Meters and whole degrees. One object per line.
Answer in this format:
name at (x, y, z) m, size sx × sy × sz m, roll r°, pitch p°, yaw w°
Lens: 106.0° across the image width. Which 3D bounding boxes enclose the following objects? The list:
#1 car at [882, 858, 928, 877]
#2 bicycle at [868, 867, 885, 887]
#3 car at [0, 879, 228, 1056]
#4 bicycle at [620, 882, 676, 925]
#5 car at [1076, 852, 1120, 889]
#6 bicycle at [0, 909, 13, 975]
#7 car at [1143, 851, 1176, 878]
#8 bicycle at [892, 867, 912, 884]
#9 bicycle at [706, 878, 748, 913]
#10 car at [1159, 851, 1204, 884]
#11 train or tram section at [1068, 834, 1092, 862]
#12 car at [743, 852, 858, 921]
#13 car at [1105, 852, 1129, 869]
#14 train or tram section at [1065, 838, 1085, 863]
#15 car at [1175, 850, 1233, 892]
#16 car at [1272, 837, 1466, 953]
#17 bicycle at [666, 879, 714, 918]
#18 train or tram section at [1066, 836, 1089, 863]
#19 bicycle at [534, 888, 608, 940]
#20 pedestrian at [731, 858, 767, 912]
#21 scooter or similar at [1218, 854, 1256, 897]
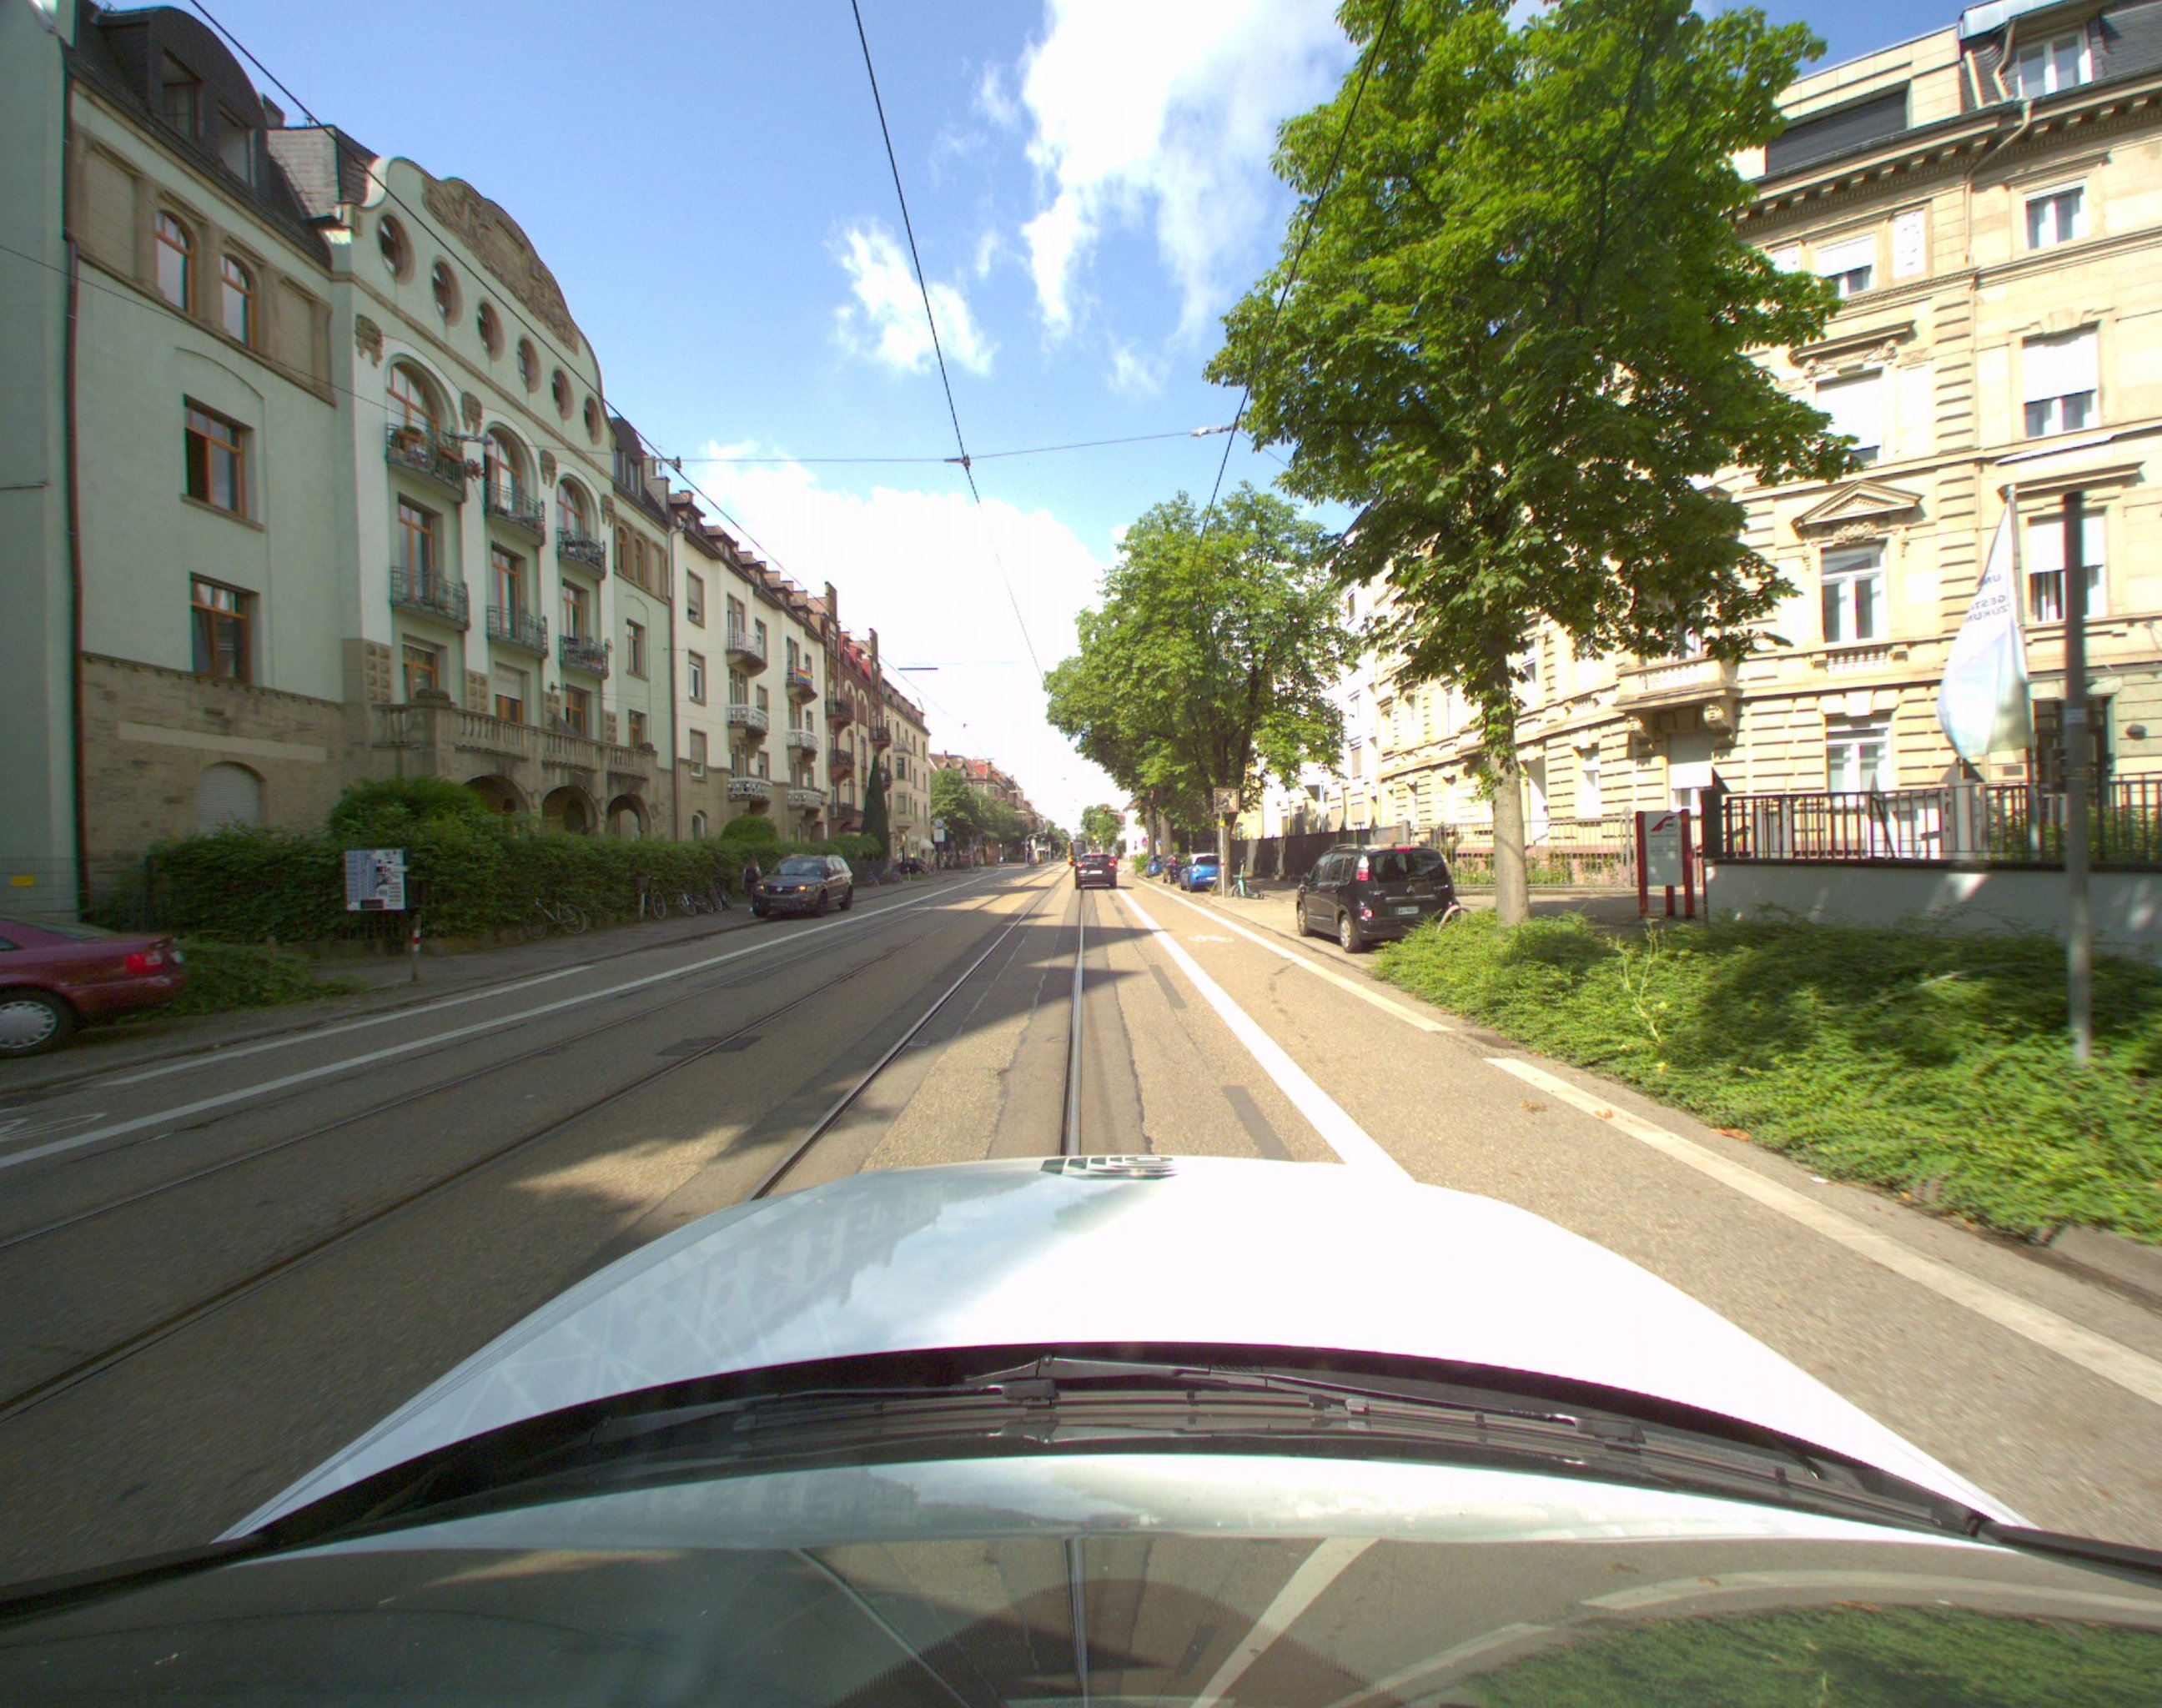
car at (-14.031, 1.067, 64.872) m, size 3.223 × 1.513 × 1.680 m, roll 0°, pitch -1°, yaw 3°
bicycle at (-10.528, 1.183, 41.927) m, size 0.424 × 0.959 × 1.706 m, roll 0°, pitch 0°, yaw 2°
car at (-10.802, 1.133, 7.446) m, size 3.993 × 1.484 × 1.824 m, roll -4°, pitch 0°, yaw -43°
bicycle at (-10.766, 1.217, 20.315) m, size 0.381 × 0.959 × 1.811 m, roll 0°, pitch 0°, yaw 2°
car at (0.676, 0.671, 35.974) m, size 1.784 × 1.512 × 4.349 m, roll 0°, pitch 0°, yaw -1°
bicycle at (-17.920, 1.450, 12.627) m, size 0.382 × 1.064 × 1.808 m, roll 0°, pitch 0°, yaw -2°
car at (4.847, 0.641, 50.884) m, size 1.619 × 1.496 × 3.847 m, roll -3°, pitch 0°, yaw 0°
bicycle at (-10.421, 1.282, 47.490) m, size 0.508 × 0.959 × 1.818 m, roll 1°, pitch -2°, yaw 7°
bicycle at (-10.641, 1.233, 24.545) m, size 0.381 × 0.959 × 1.922 m, roll 0°, pitch 0°, yaw 2°
car at (4.967, 0.655, 40.617) m, size 1.635 × 1.496 × 3.755 m, roll -3°, pitch 0°, yaw -2°
train or tram section at (-0.145, -0.710, 107.222) m, size 2.646 × 3.528 × 8.487 m, roll -2°, pitch -1°, yaw -3°
car at (-8.040, 0.853, 23.841) m, size 1.780 × 1.762 × 4.879 m, roll -2°, pitch 0°, yaw -2°
car at (3.349, 0.603, 76.222) m, size 1.780 × 1.492 × 4.879 m, roll -2°, pitch 0°, yaw -2°
train or tram section at (-0.944, -0.507, 124.188) m, size 2.646 × 3.528 × 8.487 m, roll -2°, pitch -1°, yaw -3°
car at (4.877, 0.658, 32.696) m, size 1.635 × 1.496 × 3.624 m, roll -3°, pitch 0°, yaw -2°
car at (4.695, 0.612, 13.973) m, size 1.692 × 1.591 × 4.201 m, roll -3°, pitch 0°, yaw -1°
bicycle at (-10.734, 1.208, 22.407) m, size 0.381 × 0.959 × 1.811 m, roll 0°, pitch 0°, yaw 2°
train or tram section at (-0.548, -0.605, 115.724) m, size 2.646 × 3.528 × 8.487 m, roll -2°, pitch -1°, yaw -3°
bicycle at (-10.768, 1.235, 17.261) m, size 0.381 × 0.959 × 1.811 m, roll 0°, pitch 0°, yaw 2°
pedestrian at (-9.881, 0.904, 24.275) m, size 0.677 × 1.568 × 0.882 m, roll 0°, pitch 0°, yaw 2°
scooter or similar at (4.937, 0.682, 25.773) m, size 0.443 × 1.299 × 1.170 m, roll -5°, pitch 2°, yaw -31°
